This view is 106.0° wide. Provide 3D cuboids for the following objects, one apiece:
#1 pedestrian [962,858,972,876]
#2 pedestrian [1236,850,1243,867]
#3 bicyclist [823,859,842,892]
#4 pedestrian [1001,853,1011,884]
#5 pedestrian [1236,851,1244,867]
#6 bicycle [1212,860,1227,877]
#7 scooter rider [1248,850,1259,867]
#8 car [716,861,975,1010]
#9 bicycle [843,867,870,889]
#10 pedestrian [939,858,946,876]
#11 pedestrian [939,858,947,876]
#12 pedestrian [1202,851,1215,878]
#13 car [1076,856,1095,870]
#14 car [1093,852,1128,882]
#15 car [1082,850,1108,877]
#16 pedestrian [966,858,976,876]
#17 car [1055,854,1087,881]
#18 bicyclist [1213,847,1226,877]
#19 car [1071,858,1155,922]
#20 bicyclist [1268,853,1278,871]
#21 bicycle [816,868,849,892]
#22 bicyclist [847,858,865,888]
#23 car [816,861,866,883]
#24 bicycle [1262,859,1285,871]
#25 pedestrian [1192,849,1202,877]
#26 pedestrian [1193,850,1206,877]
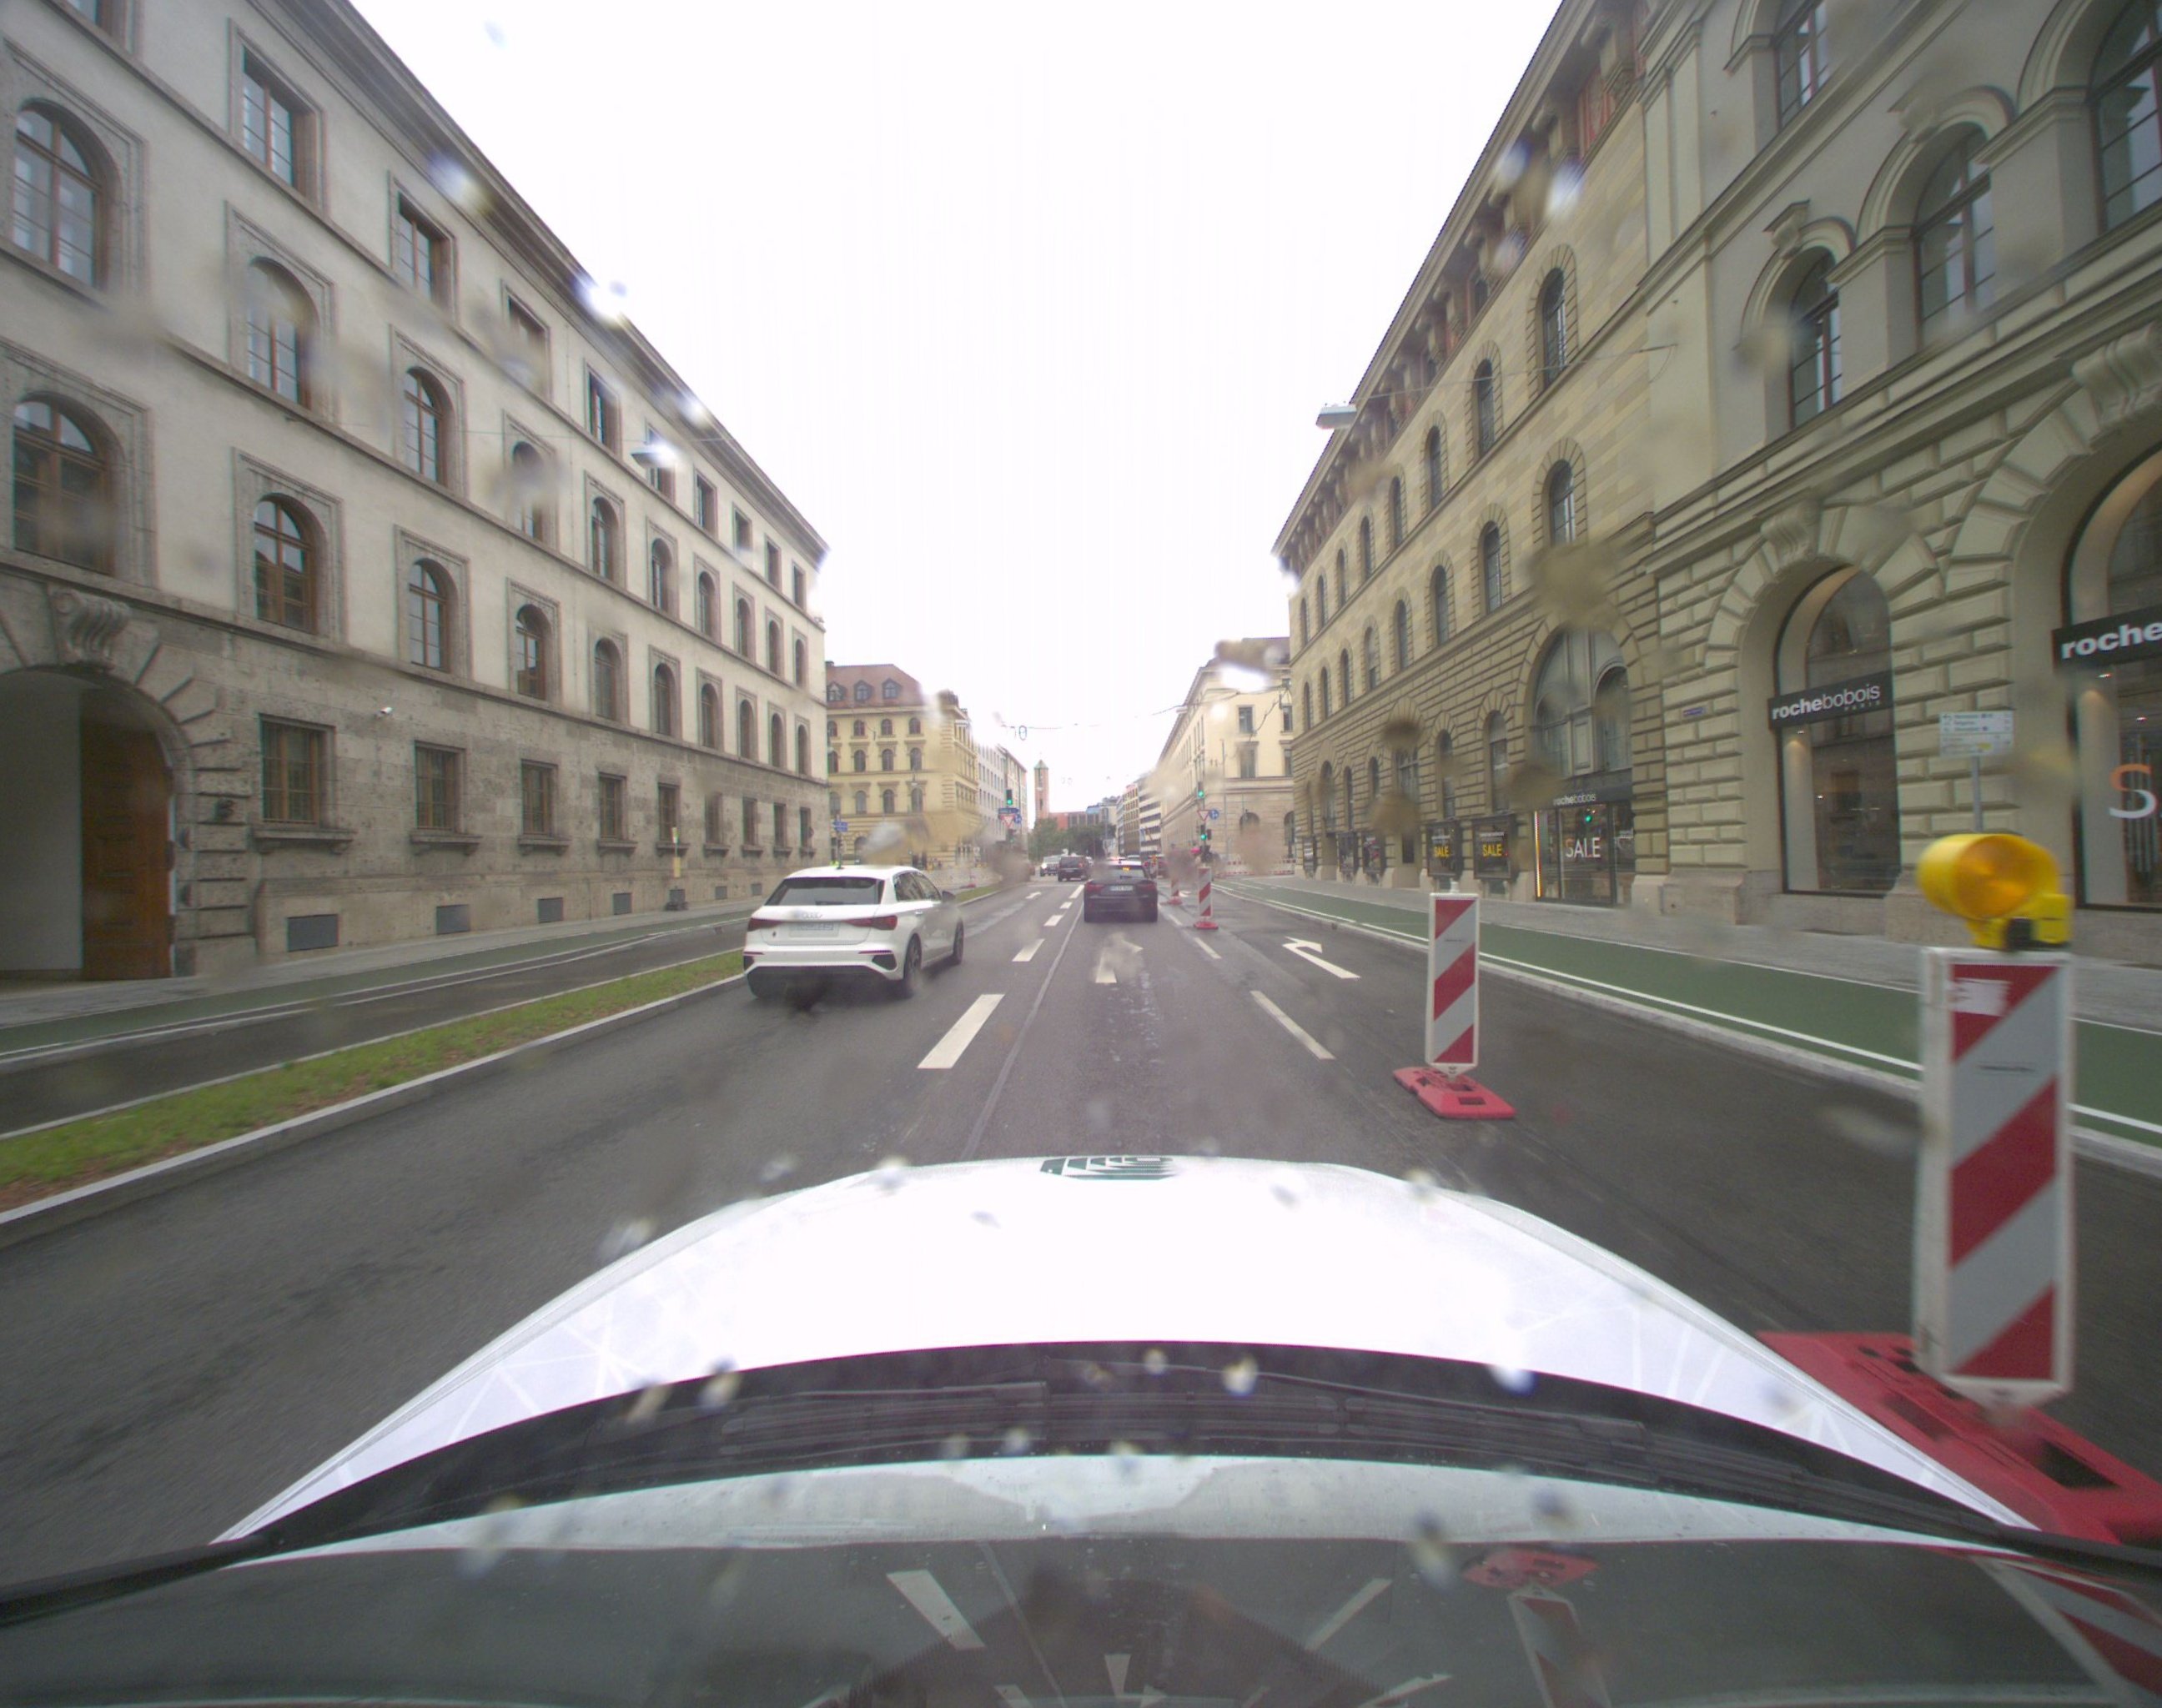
[{"bbox_3d":[-11.524,1.311,82.519,0.727,1.772,0.765,-1,0,23],"label":"pedestrian"},{"bbox_3d":[15.793,0.408,81.189,0.612,1.671,0.543,-1,0,9],"label":"pedestrian"},{"bbox_3d":[-13.650,1.168,44.780,0.794,1.748,0.690,-1,0,5],"label":"bicyclist"},{"bbox_3d":[-4.381,0.847,47.391,0.512,1.743,1.040,-2,0,-8],"label":"pedestrian"},{"bbox_3d":[15.698,0.475,80.410,0.812,1.557,0.669,-1,0,9],"label":"pedestrian"},{"bbox_3d":[8.557,0.882,50.369,0.583,1.011,1.654,-1,0,-3],"label":"bicycle"},{"bbox_3d":[16.050,0.413,75.652,0.928,1.622,0.593,-1,0,3],"label":"scooter rider"},{"bbox_3d":[-2.625,0.831,10.289,1.806,1.424,4.454,0,0,2],"label":"car"},{"bbox_3d":[-13.153,1.385,47.745,0.783,1.242,2.203,-1,0,6],"label":"bicycle"},{"bbox_3d":[-13.884,1.302,81.615,0.733,1.772,0.737,-1,0,-8],"label":"pedestrian"},{"bbox_3d":[-13.968,1.343,82.353,0.733,1.772,0.737,-1,0,-8],"label":"pedestrian"},{"bbox_3d":[7.547,0.607,48.135,0.699,1.567,0.682,-1,0,4],"label":"pedestrian"},{"bbox_3d":[0.543,1.024,92.528,1.986,1.524,4.234,-2,0,1],"label":"car"},{"bbox_3d":[1.707,0.701,46.252,1.761,1.617,4.005,-1,0,4],"label":"car"},{"bbox_3d":[1.167,0.752,66.497,1.986,2.013,4.001,-2,0,1],"label":"car"},{"bbox_3d":[-11.210,1.308,83.234,0.727,1.772,0.743,-1,0,23],"label":"pedestrian"},{"bbox_3d":[-0.593,0.812,52.166,1.858,1.601,3.852,-2,0,1],"label":"car"},{"bbox_3d":[8.559,0.483,50.296,0.565,1.854,0.798,-1,0,-4],"label":"bicyclist"},{"bbox_3d":[0.785,0.818,20.227,1.856,1.388,4.001,-1,0,2],"label":"car"},{"bbox_3d":[18.078,0.760,76.700,0.740,1.615,0.796,-1,0,4],"label":"bicyclist"},{"bbox_3d":[-13.647,1.434,44.800,0.783,1.242,2.453,-1,0,6],"label":"bicycle"},{"bbox_3d":[-13.153,1.109,47.679,0.794,1.776,0.690,-1,0,5],"label":"bicyclist"},{"bbox_3d":[-21.003,1.557,71.291,3.730,1.798,1.867,-2,-1,-2],"label":"car"},{"bbox_3d":[18.132,1.050,76.695,1.949,1.040,0.796,-1,0,4],"label":"bicycle"},{"bbox_3d":[6.715,0.519,47.069,0.529,1.620,0.674,-1,0,4],"label":"pedestrian"},{"bbox_3d":[7.142,0.577,49.024,0.699,1.567,0.542,-1,0,4],"label":"pedestrian"}]
